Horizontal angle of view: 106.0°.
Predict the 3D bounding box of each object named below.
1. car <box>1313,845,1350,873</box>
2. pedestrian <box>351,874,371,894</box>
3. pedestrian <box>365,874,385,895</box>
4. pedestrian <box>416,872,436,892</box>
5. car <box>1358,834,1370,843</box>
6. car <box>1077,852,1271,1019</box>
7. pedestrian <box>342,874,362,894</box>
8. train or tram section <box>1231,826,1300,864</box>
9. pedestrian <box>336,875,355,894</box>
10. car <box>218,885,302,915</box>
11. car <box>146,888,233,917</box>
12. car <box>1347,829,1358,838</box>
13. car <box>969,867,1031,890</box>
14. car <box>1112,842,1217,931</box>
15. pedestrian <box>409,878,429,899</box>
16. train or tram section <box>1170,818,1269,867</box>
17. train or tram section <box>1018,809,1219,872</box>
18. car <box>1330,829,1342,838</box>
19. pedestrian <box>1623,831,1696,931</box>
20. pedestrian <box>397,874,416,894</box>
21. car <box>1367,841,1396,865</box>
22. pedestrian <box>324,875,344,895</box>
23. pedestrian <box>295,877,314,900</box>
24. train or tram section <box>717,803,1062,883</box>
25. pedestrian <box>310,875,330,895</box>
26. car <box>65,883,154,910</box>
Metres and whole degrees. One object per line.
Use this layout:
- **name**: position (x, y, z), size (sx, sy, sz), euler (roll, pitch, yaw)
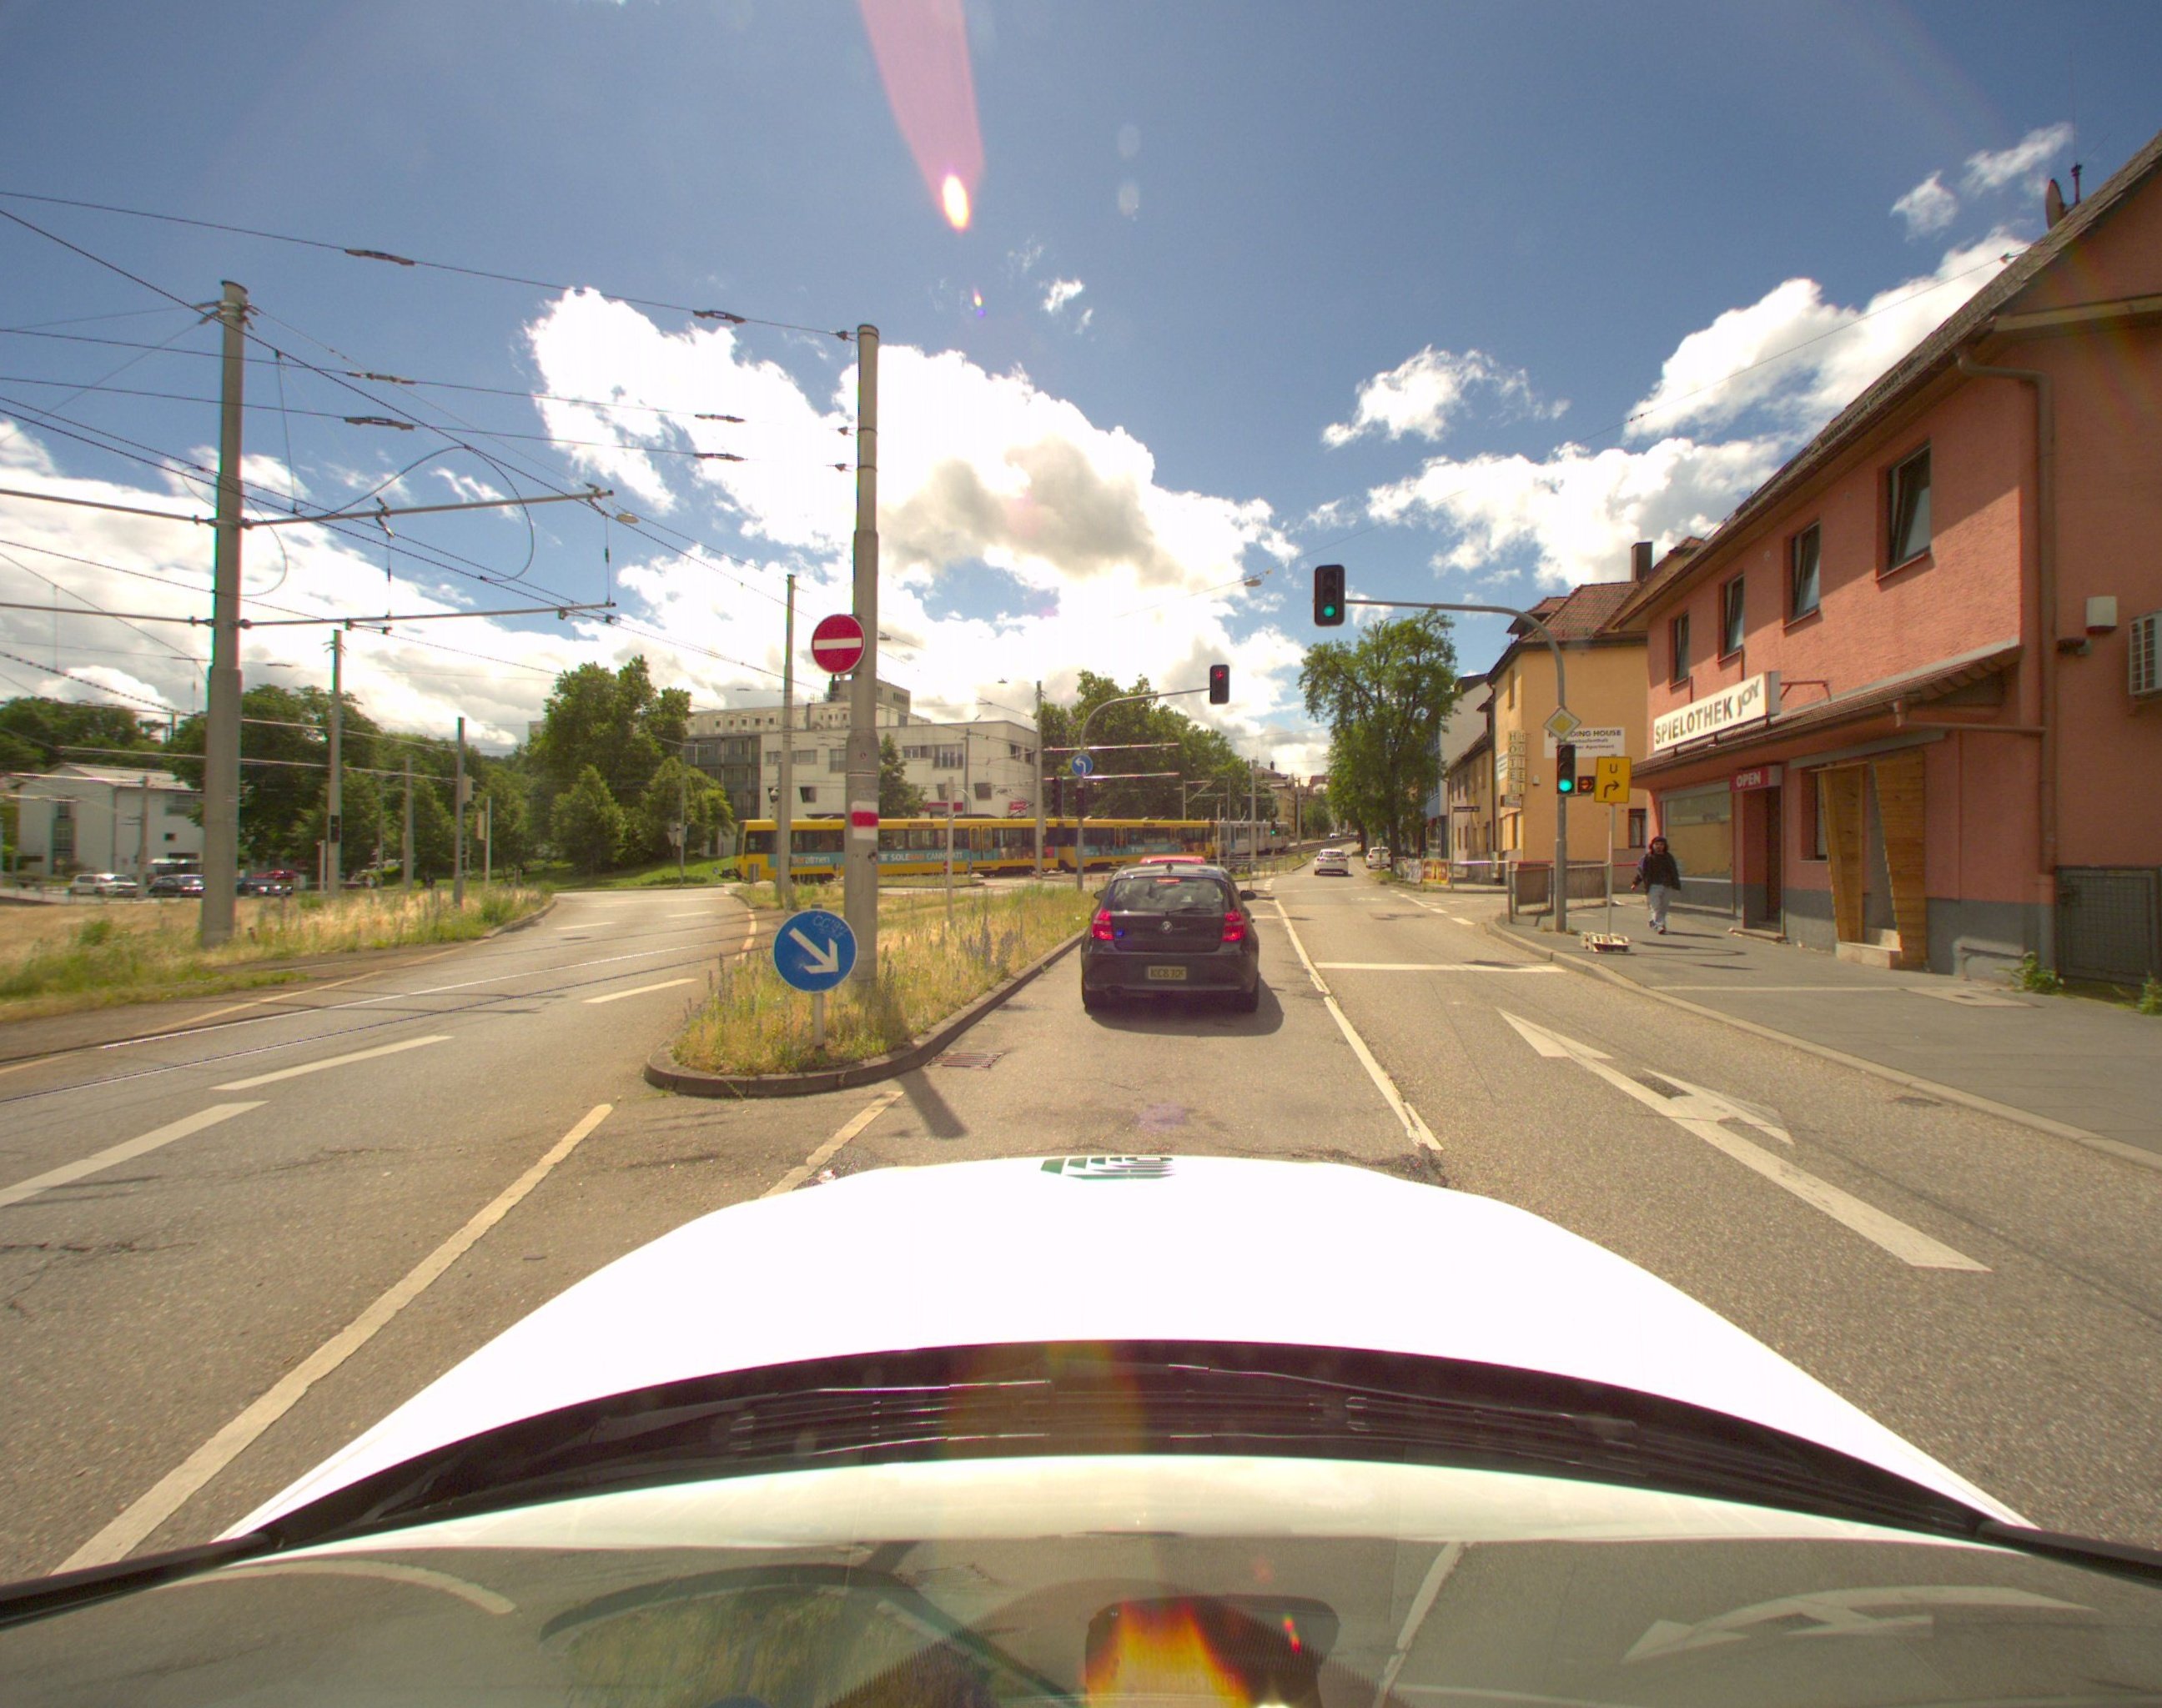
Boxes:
- **car**: position (14.077, 0.253, 45.955), size (1.802, 1.468, 4.016), euler (2, 1, 15)
- **pedestrian**: position (-56.933, 2.375, 64.386), size (0.808, 1.576, 0.844), euler (-1, 0, 10)
- **pedestrian**: position (-56.593, 2.443, 65.268), size (0.808, 1.576, 0.844), euler (-1, 0, 10)
- **pedestrian**: position (-51.027, 2.184, 63.435), size (0.808, 1.576, 0.844), euler (-1, 0, 10)
- **car**: position (46.737, -2.536, 134.569), size (1.800, 1.468, 4.020), euler (2, 1, 19)
- **car**: position (0.925, 0.759, 9.308), size (1.694, 1.452, 4.002), euler (-2, -1, 3)
- **pedestrian**: position (-58.487, 2.432, 65.327), size (0.808, 1.576, 0.844), euler (-1, 0, 10)
- **train or tram section**: position (21.667, -0.893, 94.108), size (3.715, 3.814, 20.164), euler (-2, -1, 24)
- **pedestrian**: position (-60.949, 2.519, 67.463), size (0.808, 1.576, 0.844), euler (-1, 0, 10)
- **car**: position (-53.632, 2.987, 53.234), size (4.193, 1.791, 2.031), euler (-2, -1, 16)
- **car**: position (-55.419, 2.998, 50.622), size (4.209, 1.651, 1.927), euler (-2, -1, 16)
- **car**: position (68.650, -5.237, 205.813), size (1.975, 2.014, 4.024), euler (-2, -1, 26)
- **car**: position (-5.954, 1.816, 60.254), size (4.190, 1.585, 1.837), euler (-1, -1, -39)
- **car**: position (1.748, 0.583, 15.886), size (1.614, 1.473, 4.012), euler (-2, -1, 11)
- **pedestrian**: position (-51.205, 2.700, 62.985), size (0.808, 1.576, 0.844), euler (-1, 0, 10)
- **train or tram section**: position (13.411, -0.909, 75.842), size (3.715, 3.879, 20.752), euler (-2, -1, 24)
- **train or tram section**: position (3.568, -0.849, 59.060), size (3.712, 3.829, 20.277), euler (-2, -1, 37)
- **car**: position (58.630, -4.660, 187.199), size (1.975, 2.014, 4.024), euler (-2, -1, 26)
- **pedestrian**: position (9.746, 0.440, 13.742), size (0.758, 1.642, 0.781), euler (-2, 1, 16)
- **pedestrian**: position (-53.997, 2.370, 65.207), size (0.808, 1.576, 0.844), euler (-1, 0, 10)
- **car**: position (21.184, -0.043, 57.519), size (1.773, 1.596, 4.018), euler (-2, -1, 18)
- **pedestrian**: position (-61.103, 2.510, 66.597), size (0.808, 1.576, 0.844), euler (-1, 0, 10)
- **pedestrian**: position (-65.852, 2.900, 69.054), size (0.811, 1.866, 0.836), euler (-1, 0, 19)
- **train or tram section**: position (-10.184, -0.615, 46.470), size (18.963, 3.919, 3.723), euler (-1, -1, -32)
- **pedestrian**: position (-61.241, 2.498, 65.534), size (0.808, 1.576, 0.844), euler (-1, 0, 10)
- **car**: position (-62.035, 2.693, 52.026), size (4.443, 1.555, 1.947), euler (-2, -1, 15)
